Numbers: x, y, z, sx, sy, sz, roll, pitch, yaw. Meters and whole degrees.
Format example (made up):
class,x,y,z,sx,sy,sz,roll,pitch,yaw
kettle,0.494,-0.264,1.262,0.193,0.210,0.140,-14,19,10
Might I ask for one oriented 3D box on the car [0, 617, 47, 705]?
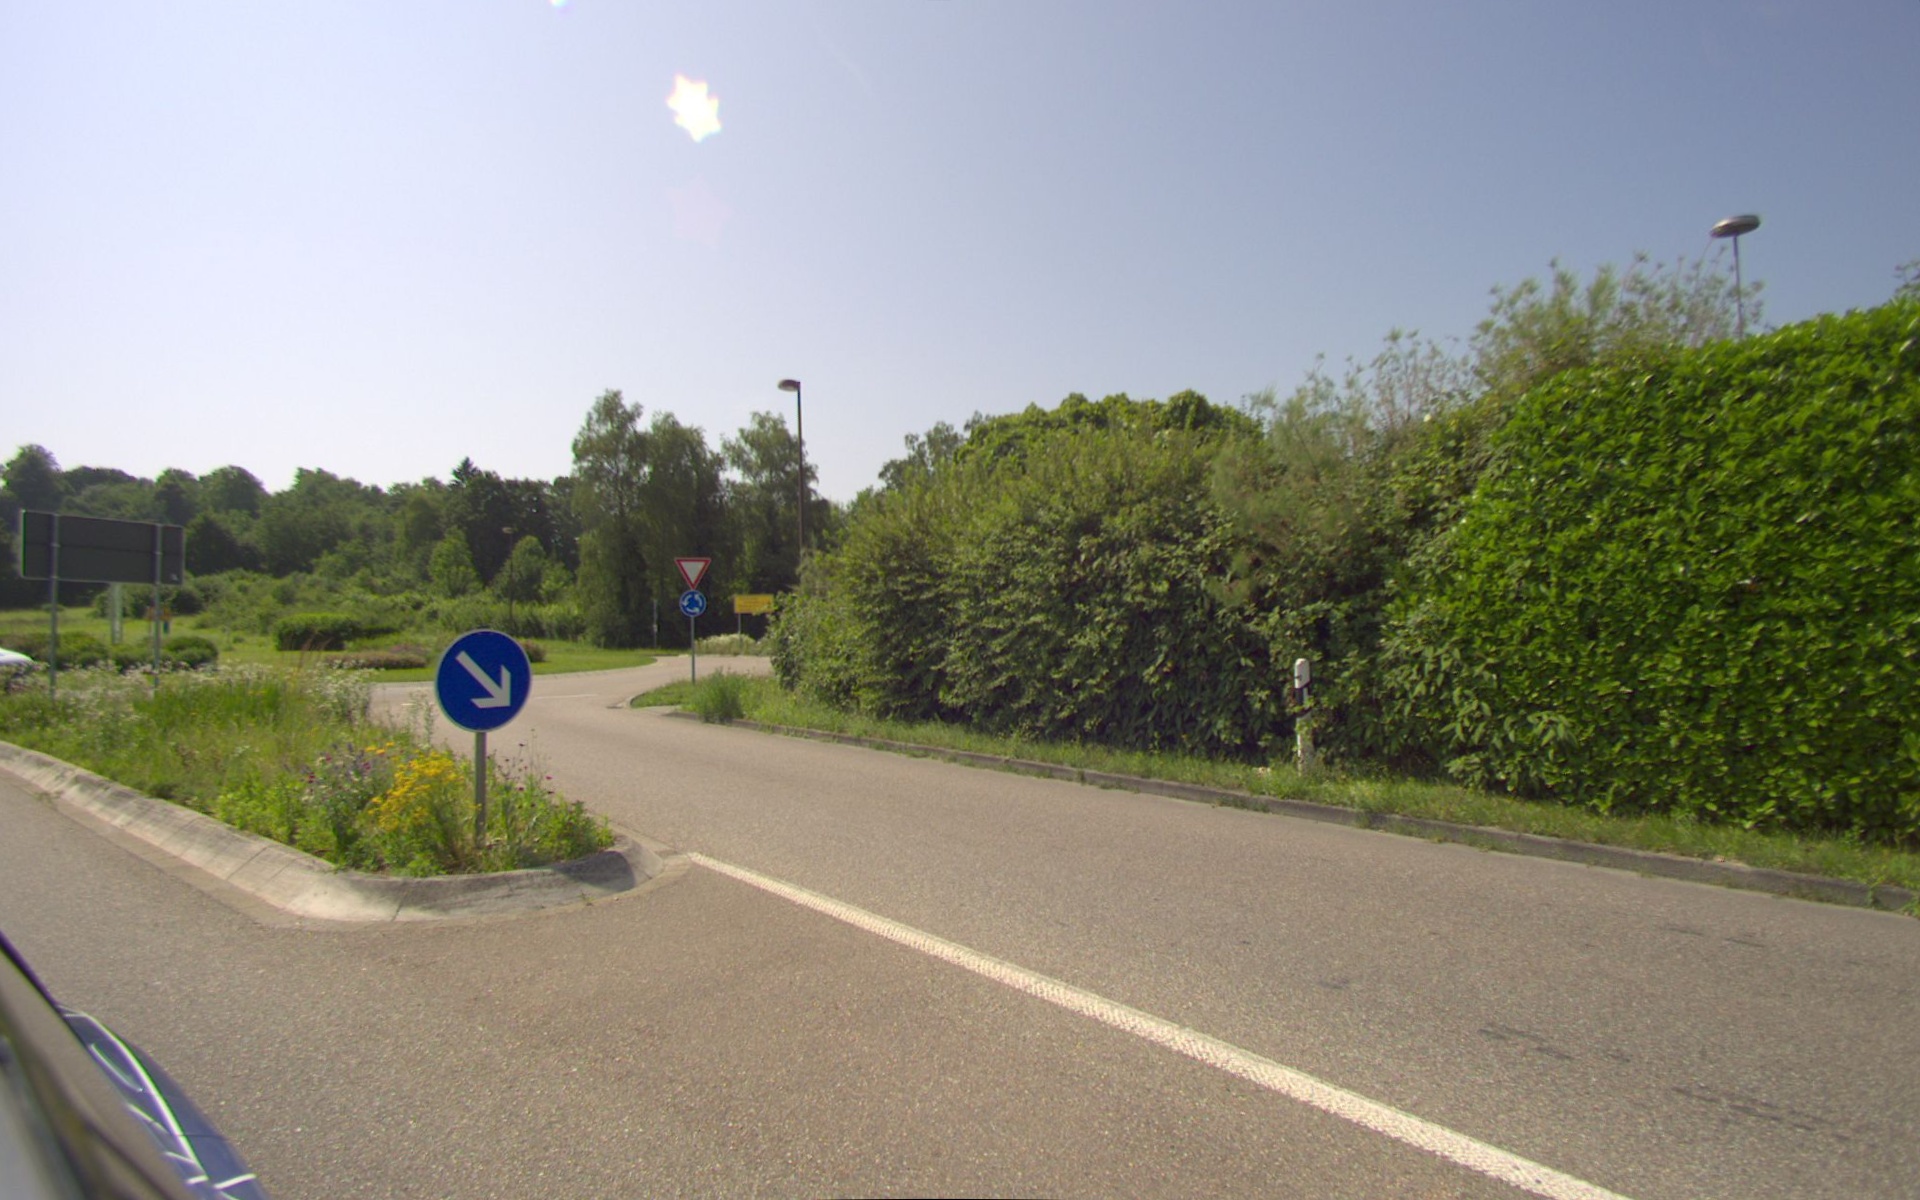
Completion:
class,x,y,z,sx,sy,sz,roll,pitch,yaw
car,-23.856,1.400,22.369,5.140,1.952,1.866,-1,-1,-28

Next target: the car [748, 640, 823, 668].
class,x,y,z,sx,sy,sz,roll,pitch,yaw
car,-11.464,3.530,66.848,2.029,1.665,4.572,-3,-1,43
